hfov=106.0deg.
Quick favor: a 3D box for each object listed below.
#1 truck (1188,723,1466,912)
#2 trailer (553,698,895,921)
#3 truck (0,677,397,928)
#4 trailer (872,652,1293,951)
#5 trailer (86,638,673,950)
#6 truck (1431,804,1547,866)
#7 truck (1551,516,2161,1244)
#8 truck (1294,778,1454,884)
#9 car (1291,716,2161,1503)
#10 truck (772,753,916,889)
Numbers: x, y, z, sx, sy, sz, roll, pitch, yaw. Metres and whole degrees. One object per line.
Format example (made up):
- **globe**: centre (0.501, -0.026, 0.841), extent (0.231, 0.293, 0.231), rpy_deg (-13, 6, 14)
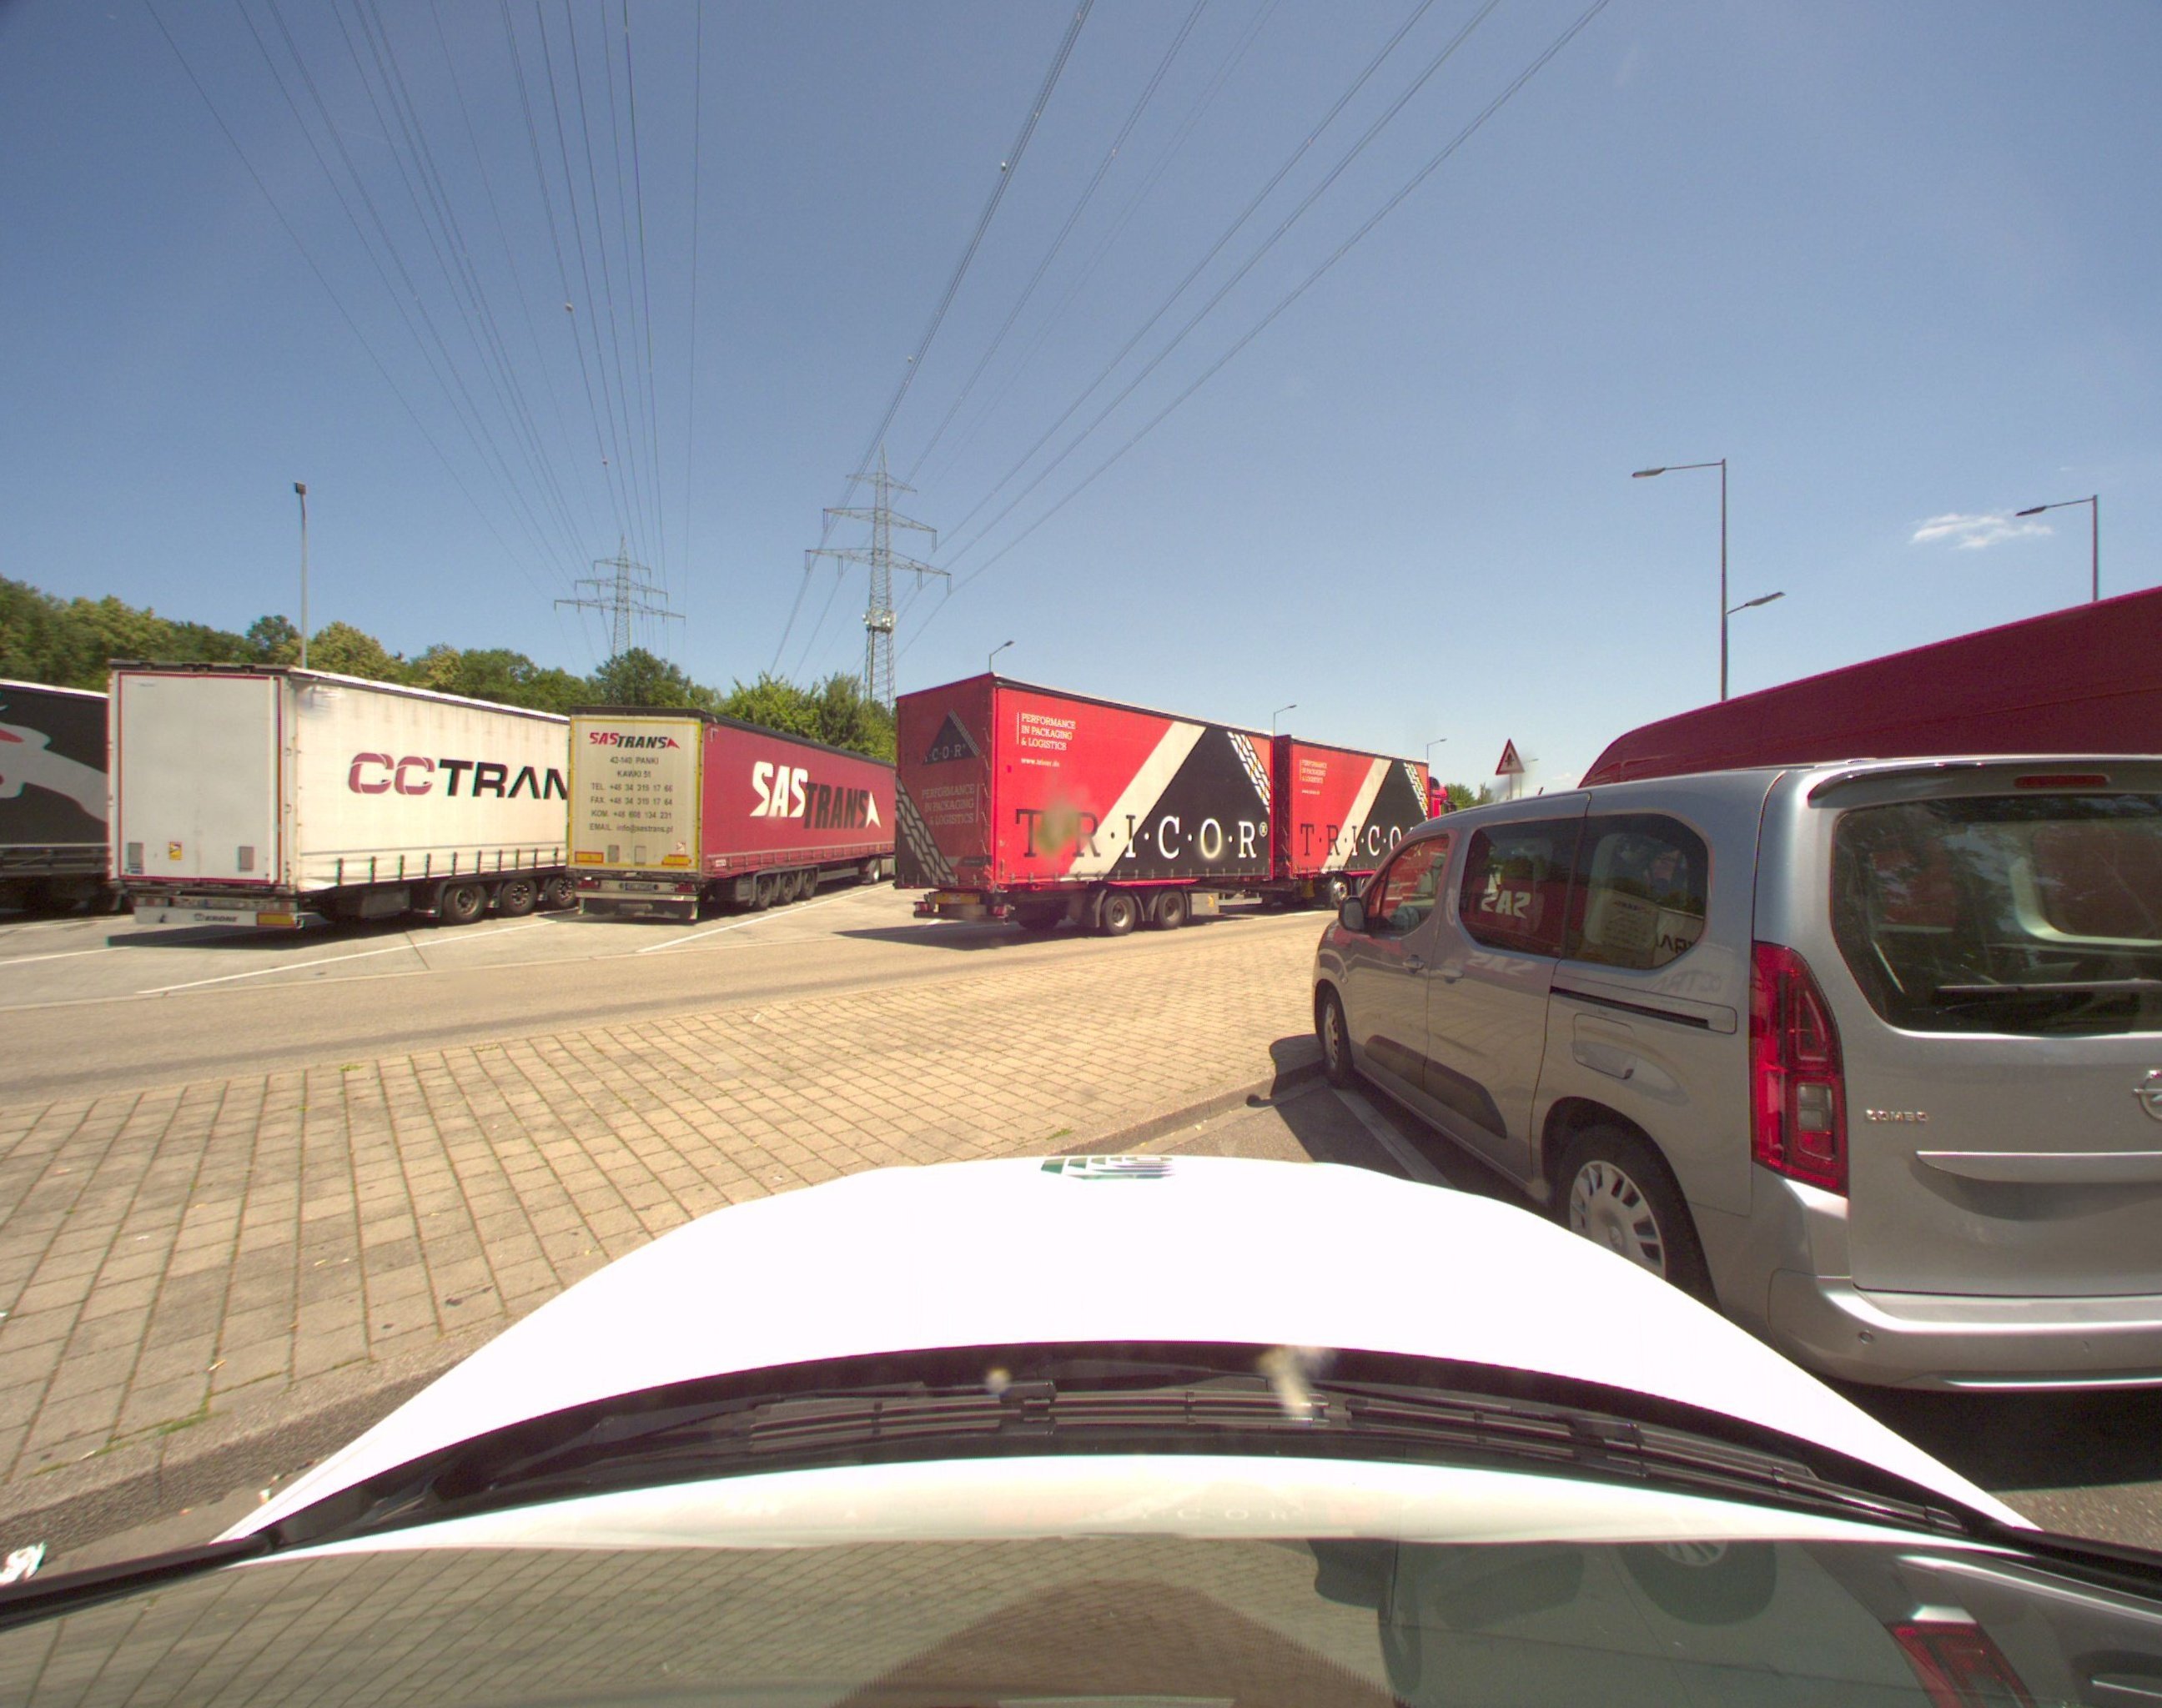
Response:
- **truck**: centre (7.304, -0.888, 22.541), extent (2.660, 4.127, 10.667), rpy_deg (0, 1, 45)
- **trailer**: centre (-8.050, -0.914, 21.531), extent (2.739, 4.057, 13.292), rpy_deg (-1, 1, 2)
- **truck**: centre (-18.516, -0.855, 15.965), extent (2.627, 4.018, 8.640), rpy_deg (-1, 1, 2)
- **trailer**: centre (0.585, -0.811, 15.697), extent (2.807, 4.257, 8.737), rpy_deg (0, 1, 44)
- **trailer**: centre (-12.103, -0.893, 16.071), extent (2.734, 4.263, 9.740), rpy_deg (0, 1, 3)
- **truck**: centre (24.456, -1.114, 49.437), extent (3.013, 3.437, 8.534), rpy_deg (-1, 1, 2)
- **truck**: centre (5.096, 0.055, 4.873), extent (1.983, 2.623, 5.312), rpy_deg (0, 1, 6)
- **truck**: centre (13.569, -1.046, 39.655), extent (2.894, 4.124, 14.533), rpy_deg (2, 1, 2)
- **car**: centre (2.466, 0.533, 3.851), extent (1.821, 1.753, 3.998), rpy_deg (-1, 1, -2)
- **truck**: centre (-7.844, -1.046, 28.015), extent (2.733, 4.081, 6.832), rpy_deg (-1, 1, 1)
